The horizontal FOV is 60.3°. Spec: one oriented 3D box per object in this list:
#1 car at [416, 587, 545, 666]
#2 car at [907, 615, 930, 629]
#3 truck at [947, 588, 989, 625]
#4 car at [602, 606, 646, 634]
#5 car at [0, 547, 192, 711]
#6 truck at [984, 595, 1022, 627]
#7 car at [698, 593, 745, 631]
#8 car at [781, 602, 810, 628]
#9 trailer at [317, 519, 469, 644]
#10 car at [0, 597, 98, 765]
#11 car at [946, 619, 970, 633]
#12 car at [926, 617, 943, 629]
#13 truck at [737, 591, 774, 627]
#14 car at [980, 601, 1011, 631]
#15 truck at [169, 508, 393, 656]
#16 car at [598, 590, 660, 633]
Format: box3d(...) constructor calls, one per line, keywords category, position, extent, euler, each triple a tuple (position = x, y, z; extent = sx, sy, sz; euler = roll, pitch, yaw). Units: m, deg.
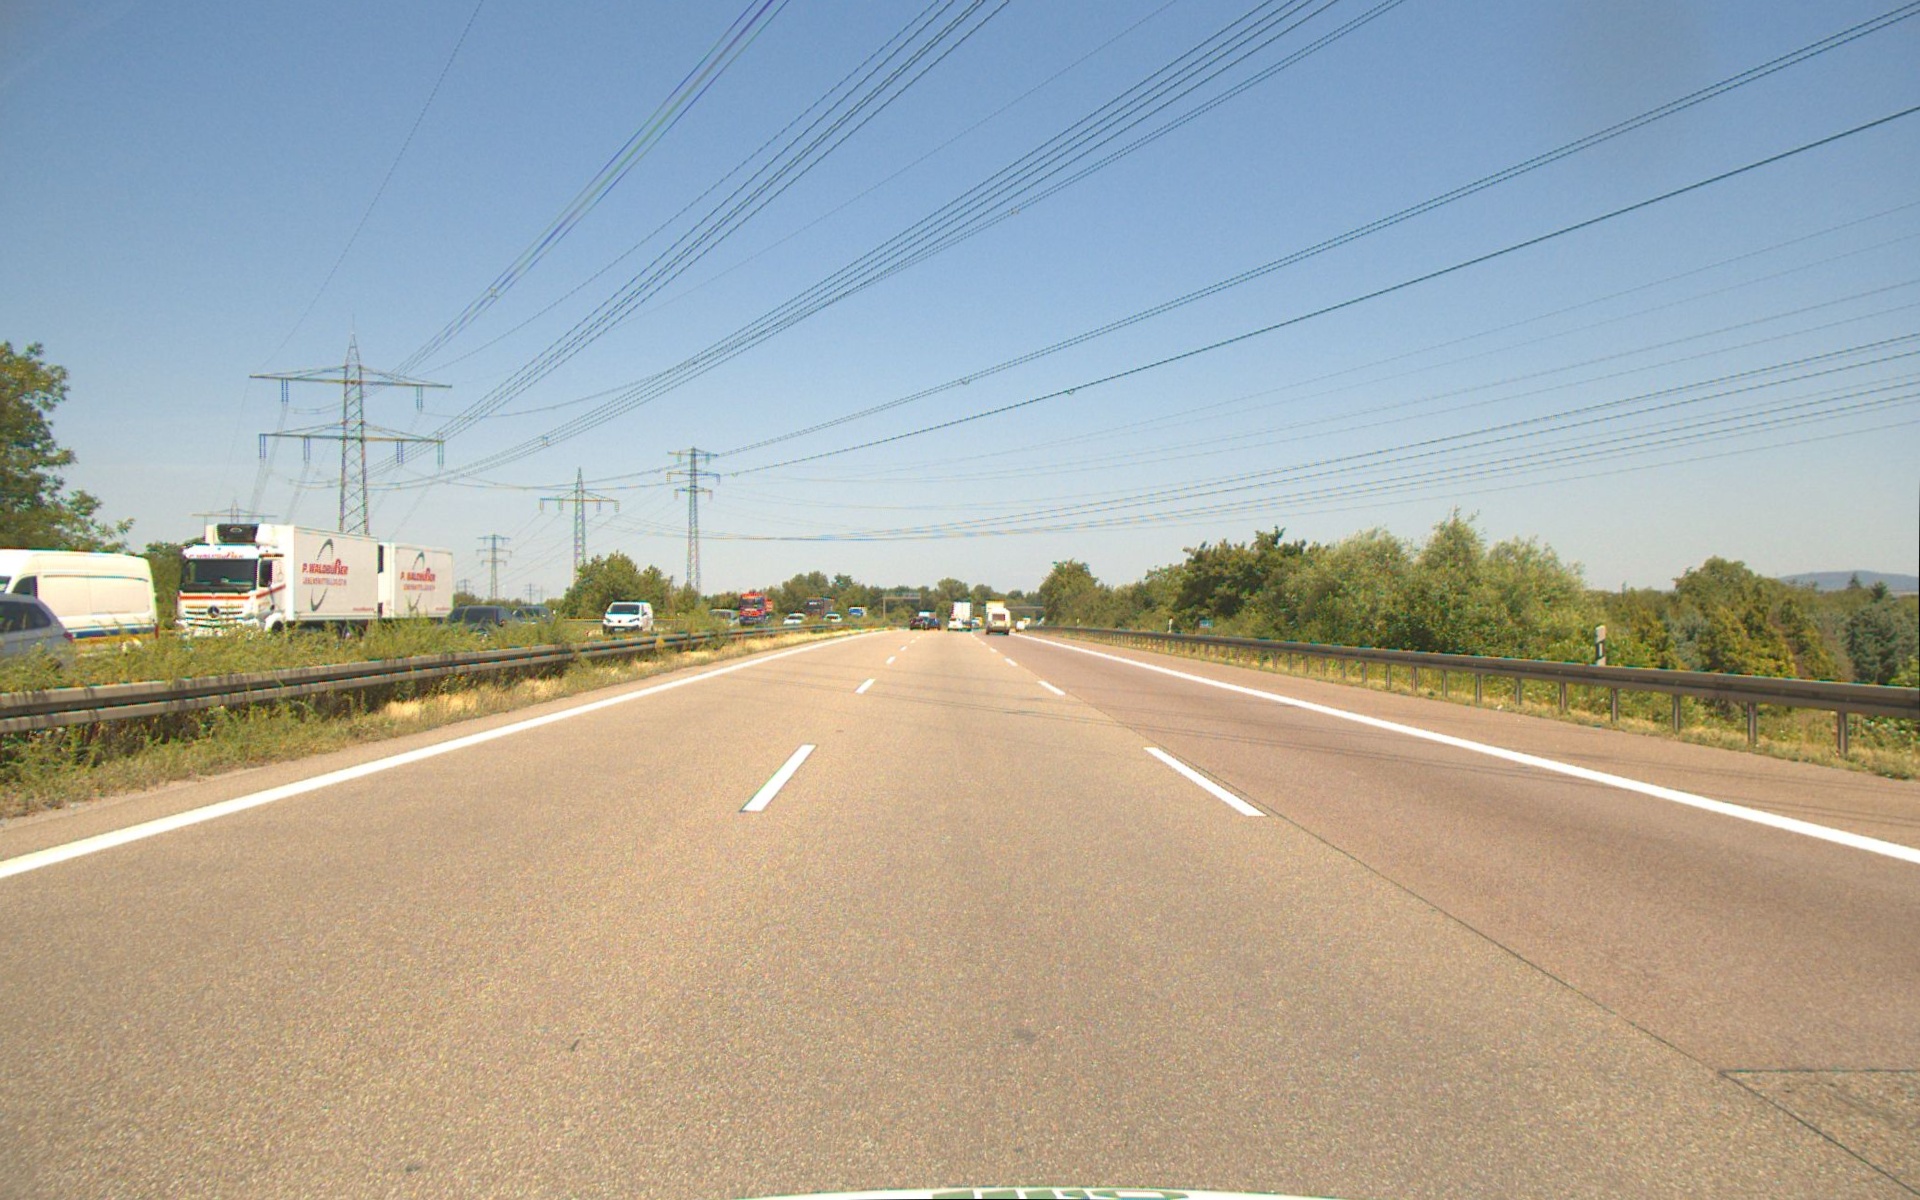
box3d(category="car", position=(-13.422, 0.691, 46.686), extent=(1.953, 2.049, 5.700), euler=(1, 0, 0))
box3d(category="car", position=(-4.678, 2.469, 186.943), extent=(1.789, 1.574, 4.322), euler=(2, 0, 9))
box3d(category="truck", position=(1.323, 0.881, 240.850), extent=(3.588, 5.106, 16.030), euler=(1, 0, 9))
box3d(category="car", position=(-21.322, 1.245, 105.061), extent=(1.953, 1.690, 5.086), euler=(-1, 0, -2))
box3d(category="car", position=(-16.637, 0.434, 29.702), extent=(2.432, 2.625, 7.120), euler=(1, 0, -1))
box3d(category="truck", position=(6.188, 1.501, 236.401), extent=(3.113, 4.380, 16.030), euler=(1, 0, 10))
box3d(category="car", position=(-13.538, 0.660, 94.141), extent=(1.953, 2.049, 4.626), euler=(1, 0, 0))
box3d(category="car", position=(-13.764, 1.229, 138.414), extent=(1.953, 2.049, 4.920), euler=(1, 0, 0))
box3d(category="trailer", position=(-20.607, -0.651, 60.719), extent=(2.784, 4.237, 8.325), euler=(1, 0, -1))
box3d(category="car", position=(-13.050, 0.991, 20.415), extent=(2.432, 2.049, 4.556), euler=(1, 0, -1))
box3d(category="car", position=(-0.204, 2.937, 188.623), extent=(1.789, 1.574, 4.322), euler=(2, 0, 13))
box3d(category="car", position=(-3.630, 3.312, 236.023), extent=(1.789, 1.574, 4.322), euler=(2, 0, 9))
box3d(category="truck", position=(-21.241, 0.863, 172.073), extent=(2.714, 3.588, 8.532), euler=(1, 0, 0))
box3d(category="car", position=(2.931, 1.301, 138.341), extent=(2.393, 2.362, 5.320), euler=(0, 0, -1))
box3d(category="truck", position=(-20.500, -0.521, 50.807), extent=(2.637, 4.019, 10.590), euler=(1, 0, -1))
box3d(category="car", position=(-16.766, 0.569, 84.023), extent=(1.953, 2.049, 5.700), euler=(1, 0, 0))
